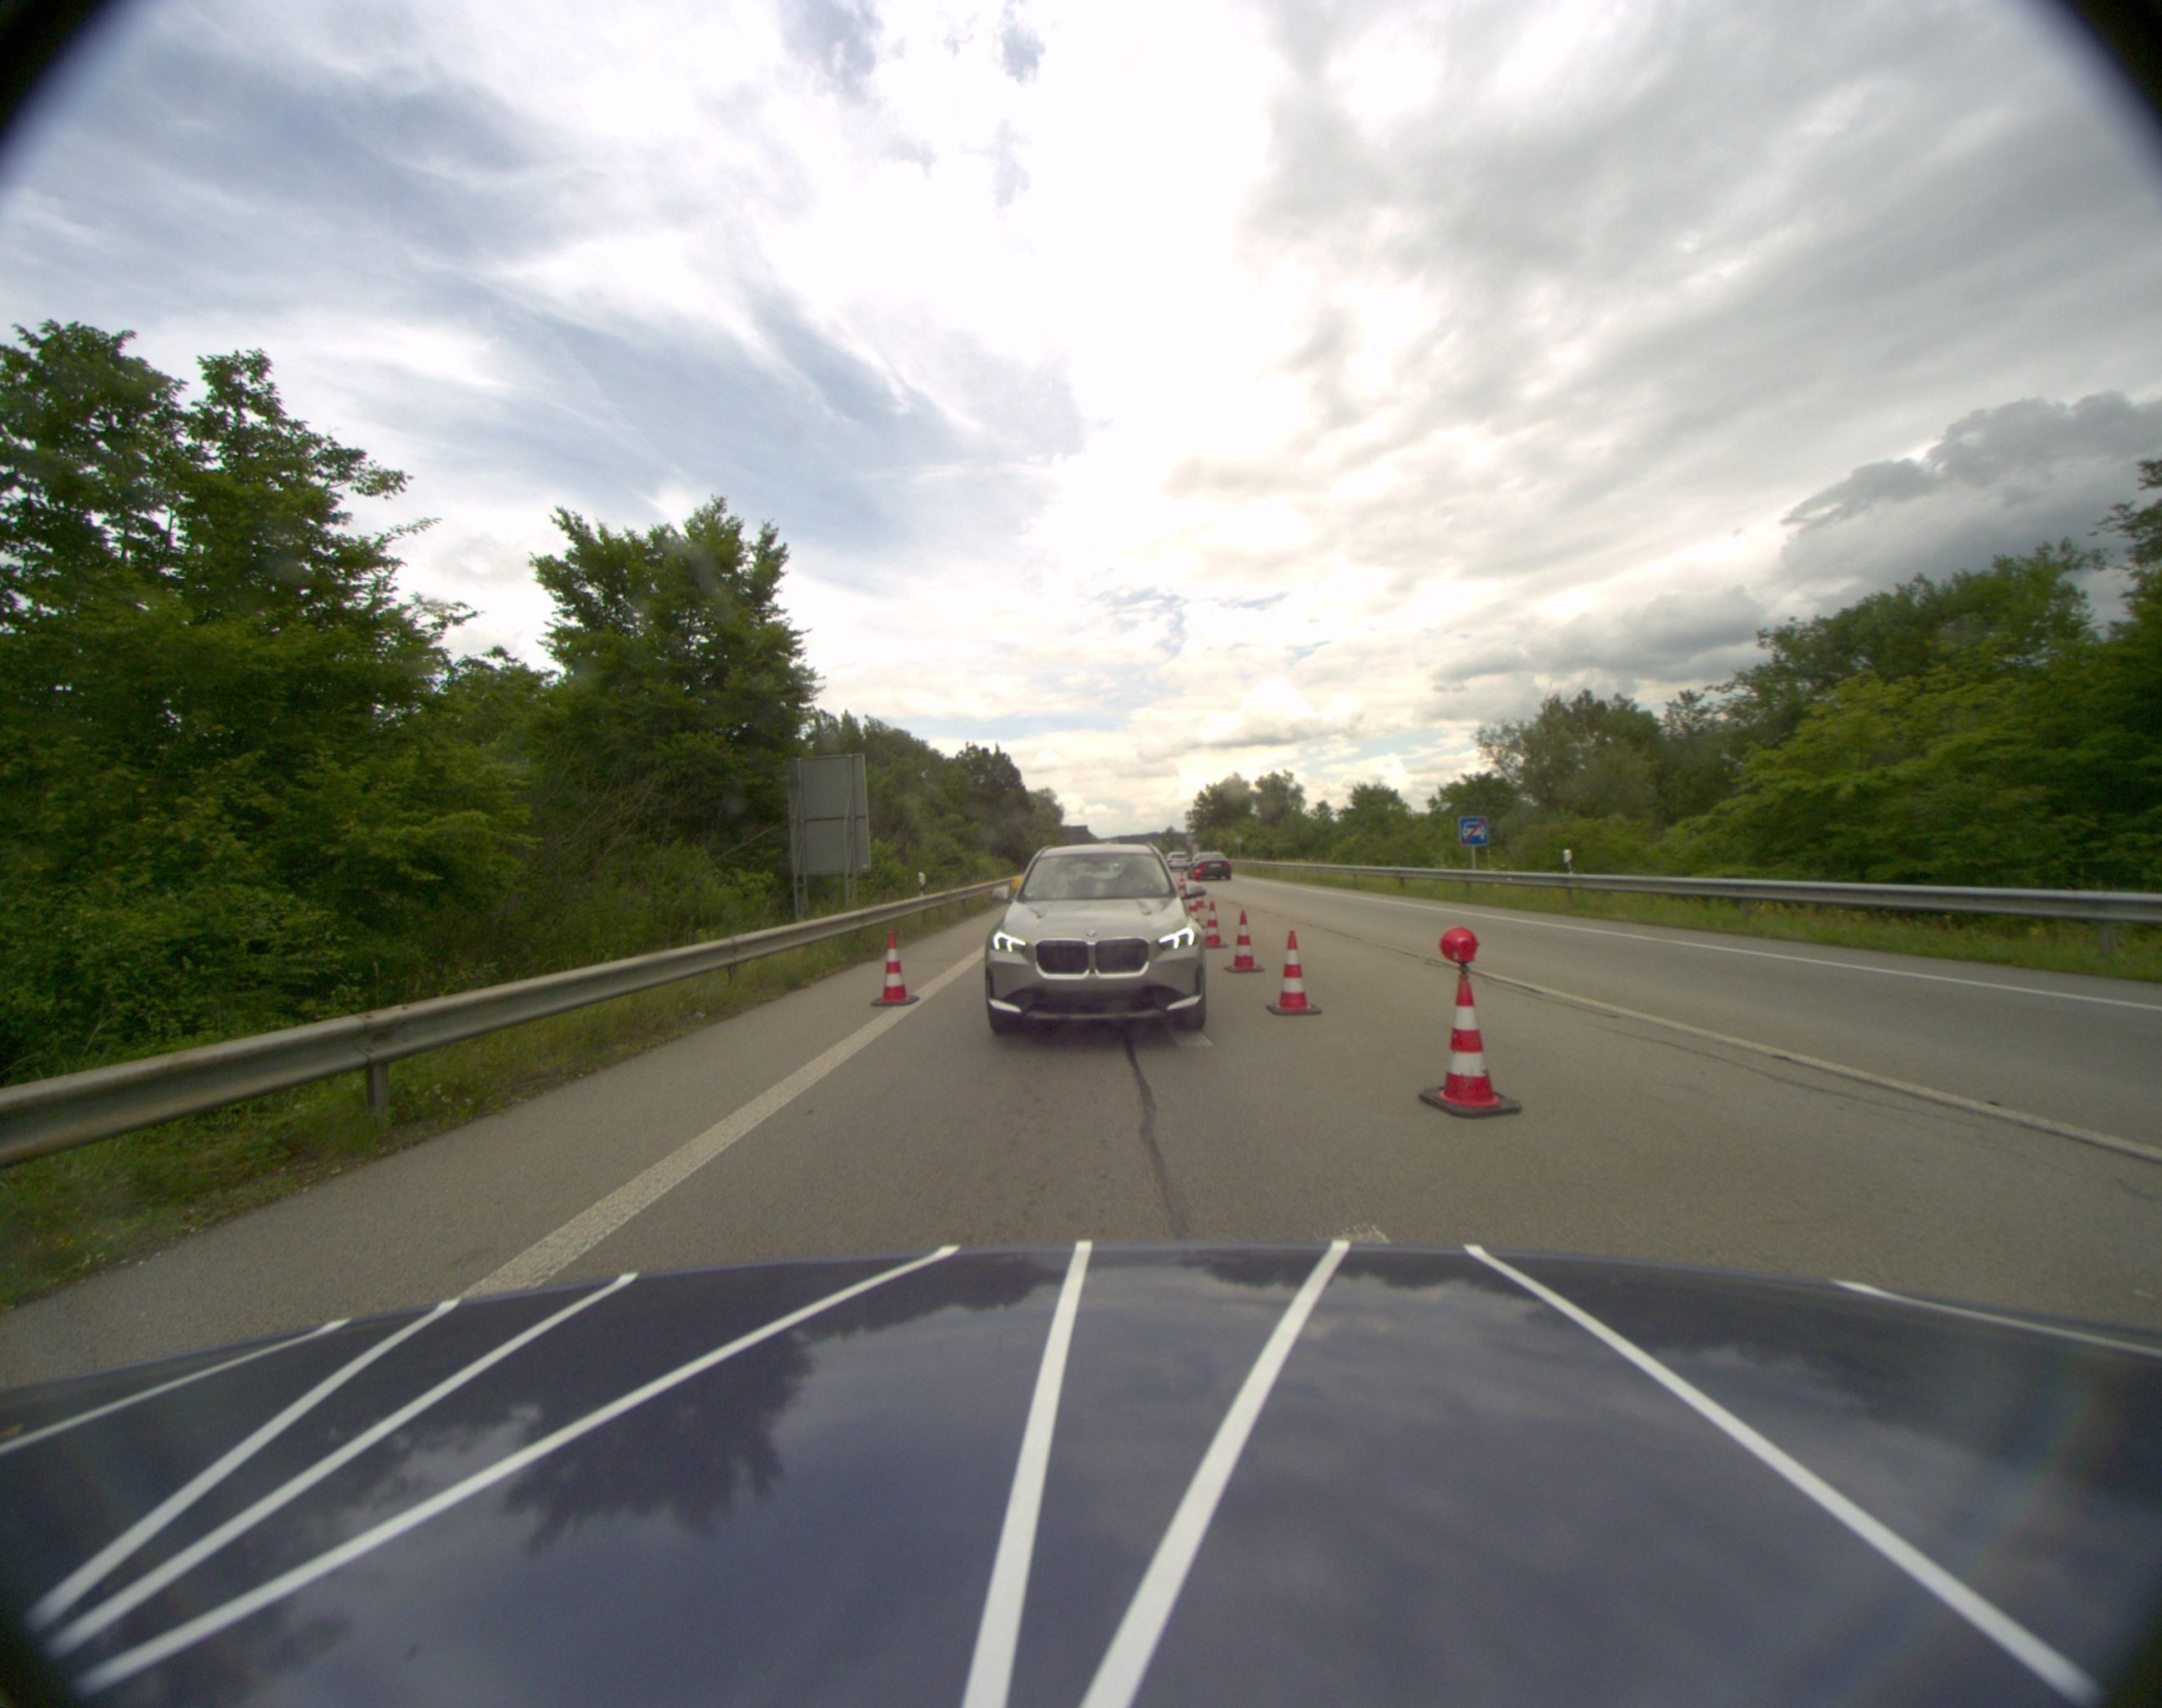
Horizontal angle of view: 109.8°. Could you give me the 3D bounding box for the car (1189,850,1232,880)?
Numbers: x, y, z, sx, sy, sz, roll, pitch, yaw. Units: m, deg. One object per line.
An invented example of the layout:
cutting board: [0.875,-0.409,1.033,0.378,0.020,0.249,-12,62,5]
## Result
car: [6.704,0.532,39.605,1.712,1.428,4.337,-2,0,4]

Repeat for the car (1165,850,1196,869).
car: [7.666,0.393,58.684,1.683,1.393,4.373,-2,0,-1]

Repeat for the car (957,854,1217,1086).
car: [0.166,0.846,7.673,1.817,1.598,4.434,-2,0,3]

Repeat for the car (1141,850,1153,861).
car: [12.680,0.272,145.595,2.034,1.976,5.316,-2,0,3]

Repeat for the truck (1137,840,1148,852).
truck: [20.877,-2.704,258.179,3.113,3.682,9.545,-2,0,3]
